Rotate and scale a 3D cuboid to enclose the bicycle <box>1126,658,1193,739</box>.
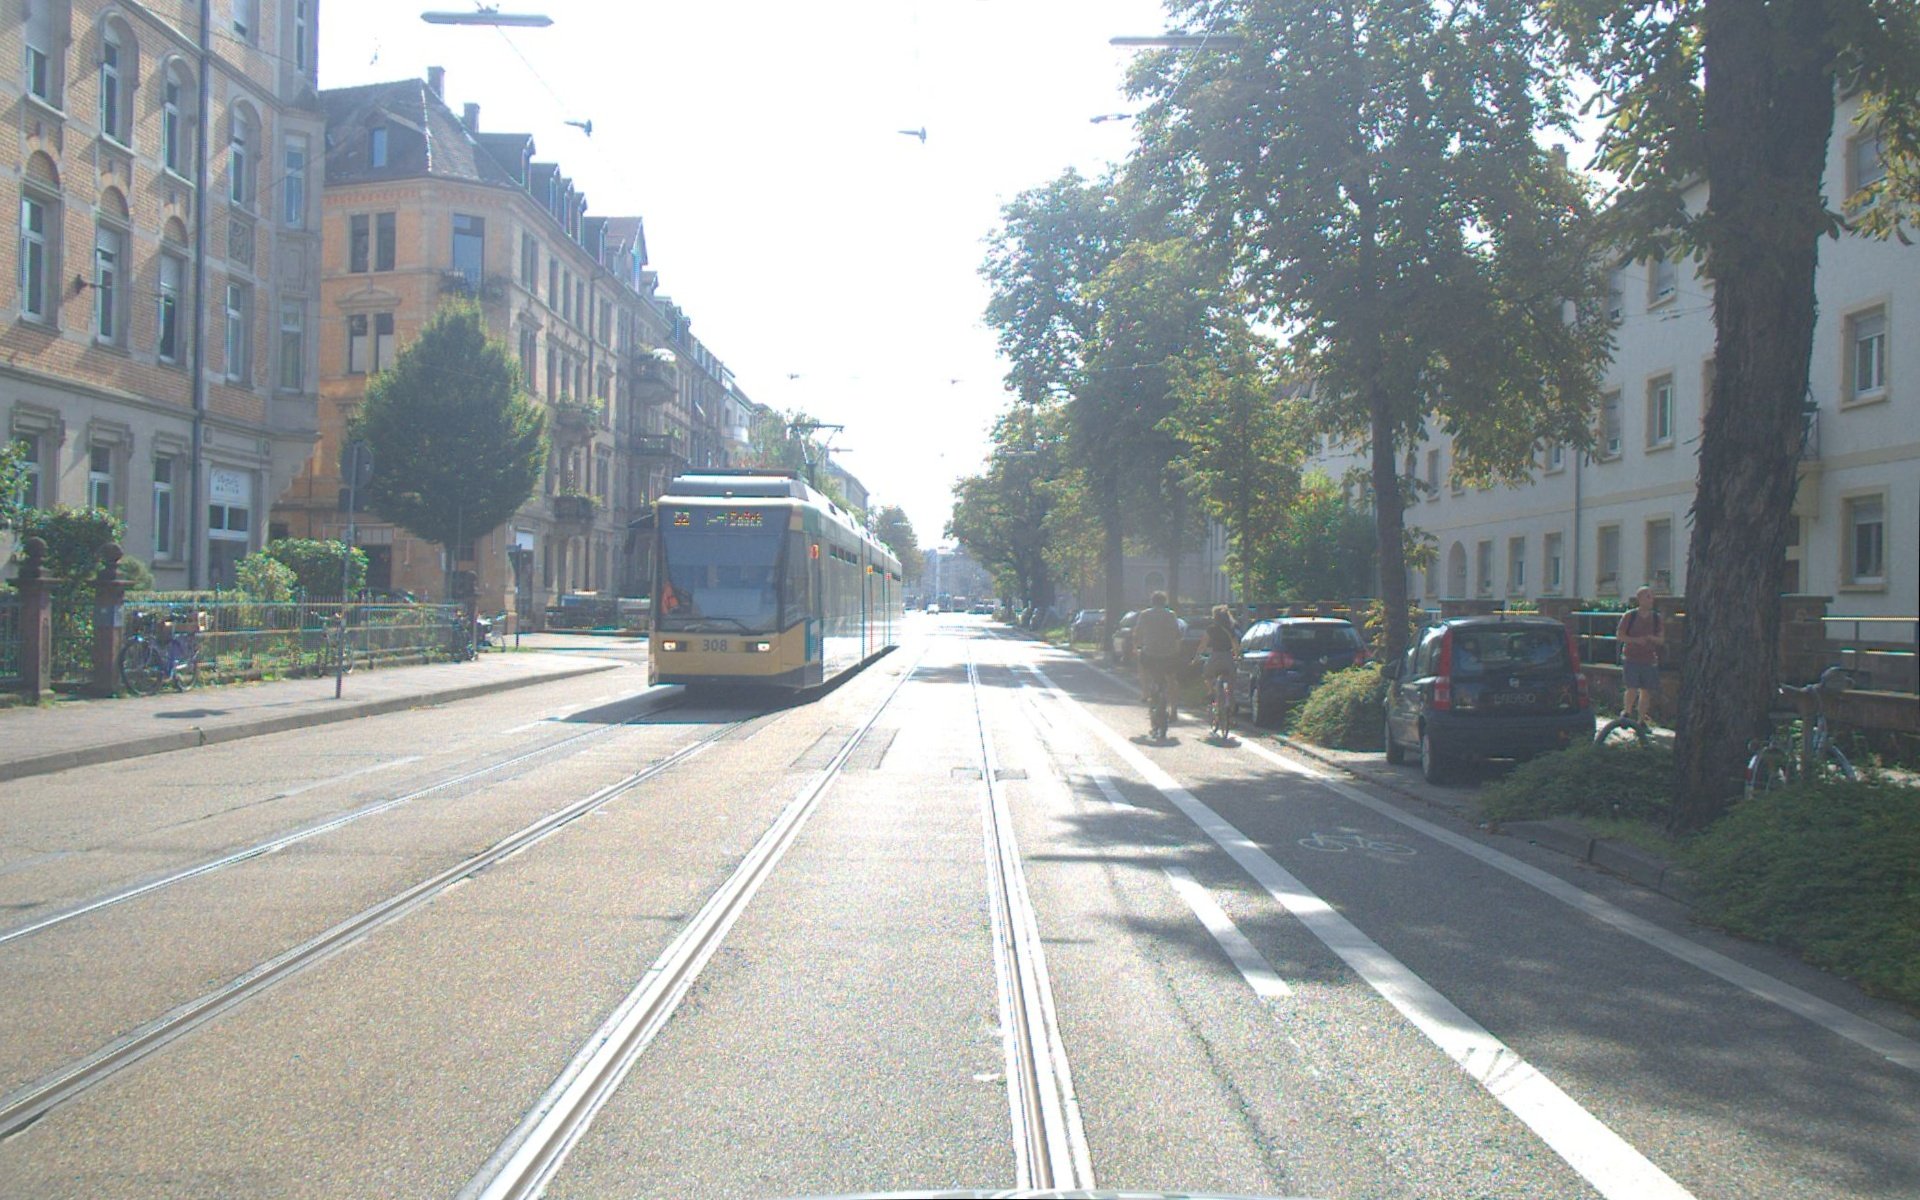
[{"bbox_3d":[2.513,1.230,20.974,0.614,0.925,1.525,3,0,-1],"label":"bicycle"}]

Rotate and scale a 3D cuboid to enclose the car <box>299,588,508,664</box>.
[{"bbox_3d":[-12.735,0.601,38.067,4.053,1.570,2.064,2,-1,-1],"label":"car"}]

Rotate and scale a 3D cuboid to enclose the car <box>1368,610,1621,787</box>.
[{"bbox_3d":[5.259,0.903,16.743,1.610,1.567,3.844,-1,0,5],"label":"car"}]

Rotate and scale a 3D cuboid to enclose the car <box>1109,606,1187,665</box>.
[{"bbox_3d":[5.172,0.969,45.903,1.655,1.528,4.095,-1,-1,0],"label":"car"}]

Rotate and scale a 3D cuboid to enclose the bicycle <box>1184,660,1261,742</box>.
[{"bbox_3d":[3.350,1.280,21.236,0.641,0.925,1.774,3,0,-1],"label":"bicycle"}]

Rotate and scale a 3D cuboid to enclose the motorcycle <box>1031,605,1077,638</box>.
[{"bbox_3d":[4.944,1.127,87.091,2.379,1.703,0.907,-1,0,45],"label":"motorcycle"}]

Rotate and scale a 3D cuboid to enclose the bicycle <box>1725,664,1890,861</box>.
[{"bbox_3d":[5.327,0.967,10.350,0.516,1.092,1.718,1,-1,41],"label":"bicycle"}]

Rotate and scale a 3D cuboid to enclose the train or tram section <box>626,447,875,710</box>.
[{"bbox_3d":[-3.287,-0.273,30.556,2.679,3.567,15.430,1,0,-1],"label":"train or tram section"}]

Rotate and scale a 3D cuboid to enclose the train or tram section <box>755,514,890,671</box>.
[{"bbox_3d":[-3.398,-0.151,43.645,2.679,3.567,10.774,1,0,-1],"label":"train or tram section"}]

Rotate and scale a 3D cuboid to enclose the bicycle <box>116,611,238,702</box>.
[{"bbox_3d":[-10.218,0.715,21.661,0.594,1.076,1.840,5,0,2],"label":"bicycle"}]

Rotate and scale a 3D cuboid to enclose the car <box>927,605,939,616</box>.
[{"bbox_3d":[-4.271,1.646,260.798,1.691,1.666,3.985,1,0,2],"label":"car"}]

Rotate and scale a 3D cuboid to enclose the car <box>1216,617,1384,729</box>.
[{"bbox_3d":[4.921,1.009,24.476,1.611,1.473,4.245,-1,0,0],"label":"car"}]

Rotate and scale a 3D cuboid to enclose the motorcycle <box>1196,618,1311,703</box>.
[{"bbox_3d":[5.093,1.046,28.759,1.817,1.312,0.705,-3,5,-3],"label":"motorcycle"}]

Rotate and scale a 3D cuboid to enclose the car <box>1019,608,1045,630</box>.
[{"bbox_3d":[5.223,1.387,119.945,1.735,1.499,3.974,0,-1,0],"label":"car"}]

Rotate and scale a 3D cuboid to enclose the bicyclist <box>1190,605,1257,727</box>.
[{"bbox_3d":[3.378,0.829,21.224,0.641,1.499,0.908,3,-1,-1],"label":"bicyclist"}]

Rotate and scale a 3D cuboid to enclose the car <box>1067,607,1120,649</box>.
[{"bbox_3d":[5.182,1.071,64.601,1.708,1.588,4.719,0,-1,0],"label":"car"}]

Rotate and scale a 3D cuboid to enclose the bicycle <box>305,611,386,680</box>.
[{"bbox_3d":[-10.236,0.738,27.595,0.533,1.076,1.840,5,0,2],"label":"bicycle"}]

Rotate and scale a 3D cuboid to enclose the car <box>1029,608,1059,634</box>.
[{"bbox_3d":[5.201,1.290,102.921,1.691,1.531,3.984,-1,-1,0],"label":"car"}]

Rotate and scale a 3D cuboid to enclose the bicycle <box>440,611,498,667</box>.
[{"bbox_3d":[-10.253,0.799,34.620,0.533,1.076,1.840,5,0,2],"label":"bicycle"}]

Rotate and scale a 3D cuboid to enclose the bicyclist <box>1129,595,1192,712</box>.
[{"bbox_3d":[2.541,0.662,20.990,0.614,1.425,0.929,3,-1,-1],"label":"bicyclist"}]

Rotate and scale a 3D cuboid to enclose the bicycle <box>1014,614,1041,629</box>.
[{"bbox_3d":[5.329,1.678,130.420,2.064,1.125,0.616,-1,-1,-1],"label":"bicycle"}]

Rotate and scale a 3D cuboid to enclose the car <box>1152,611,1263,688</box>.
[{"bbox_3d":[5.195,1.006,35.215,1.655,1.460,4.336,-2,0,-1],"label":"car"}]

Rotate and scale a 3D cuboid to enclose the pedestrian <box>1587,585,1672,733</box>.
[{"bbox_3d":[8.285,0.716,20.499,0.736,1.779,0.879,1,0,6],"label":"pedestrian"}]

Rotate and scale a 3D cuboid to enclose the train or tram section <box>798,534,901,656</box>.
[{"bbox_3d":[-3.453,-0.131,54.400,2.679,3.567,10.774,1,0,-1],"label":"train or tram section"}]
